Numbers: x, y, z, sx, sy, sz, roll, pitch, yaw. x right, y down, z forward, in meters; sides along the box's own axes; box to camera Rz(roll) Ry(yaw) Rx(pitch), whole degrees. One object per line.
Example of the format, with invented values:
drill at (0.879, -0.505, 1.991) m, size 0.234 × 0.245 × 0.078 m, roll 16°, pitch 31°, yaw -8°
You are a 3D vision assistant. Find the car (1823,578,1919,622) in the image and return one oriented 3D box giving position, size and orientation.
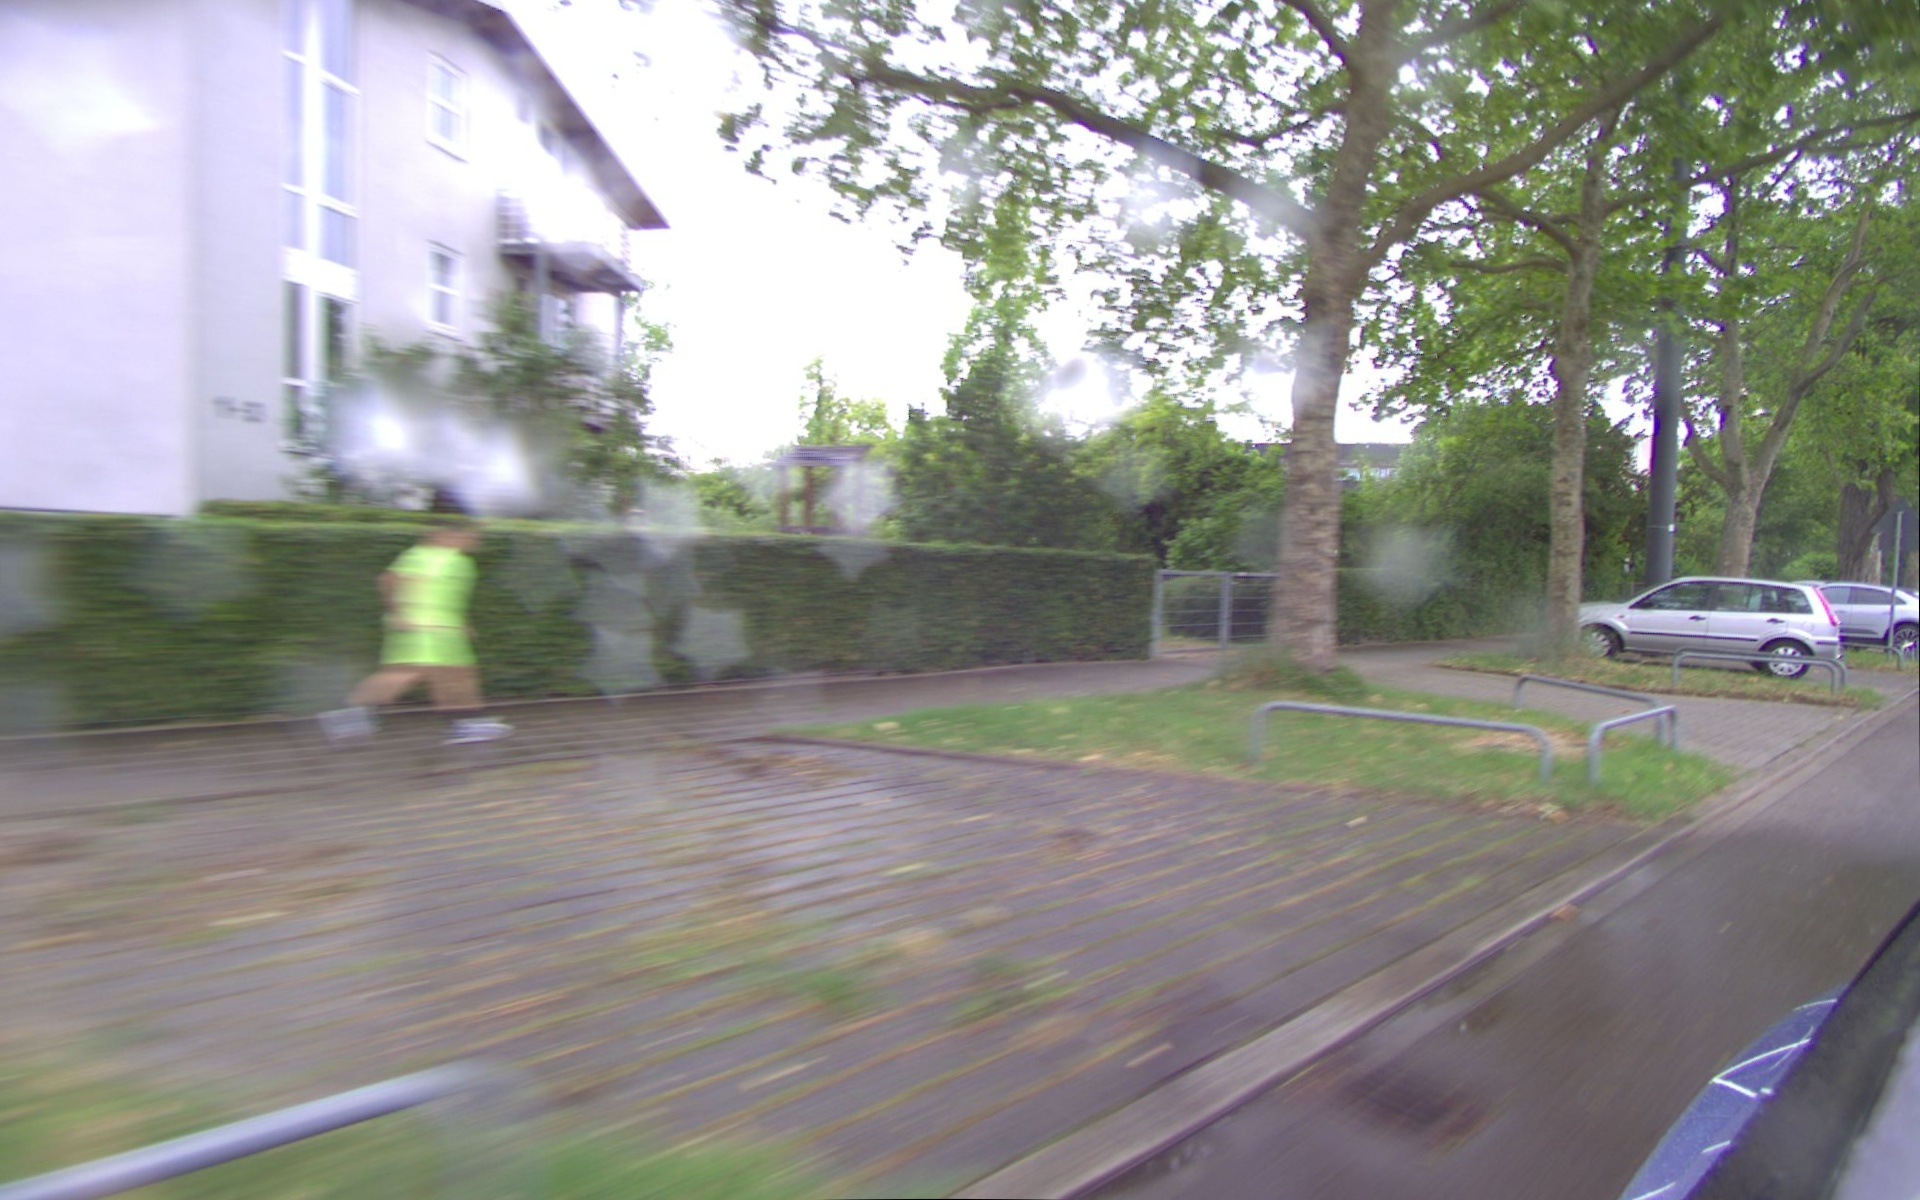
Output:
car at (38.114, 0.066, 40.818) m, size 4.499 × 1.563 × 1.878 m, roll 5°, pitch 3°, yaw 16°

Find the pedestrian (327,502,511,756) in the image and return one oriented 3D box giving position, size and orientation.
pedestrian at (-3.578, 0.159, 6.715) m, size 0.557 × 1.557 × 0.951 m, roll 3°, pitch 3°, yaw 44°

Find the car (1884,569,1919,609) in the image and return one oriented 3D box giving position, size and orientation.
car at (52.462, -0.468, 53.401) m, size 4.955 × 2.038 × 1.992 m, roll 4°, pitch 2°, yaw 13°

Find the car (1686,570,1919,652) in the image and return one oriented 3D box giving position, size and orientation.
car at (20.351, 0.224, 23.917) m, size 4.702 × 1.688 × 1.988 m, roll 2°, pitch 2°, yaw 12°

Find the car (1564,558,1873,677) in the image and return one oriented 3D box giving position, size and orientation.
car at (12.289, 0.204, 16.747) m, size 3.838 × 1.585 × 1.602 m, roll 5°, pitch 3°, yaw 31°
